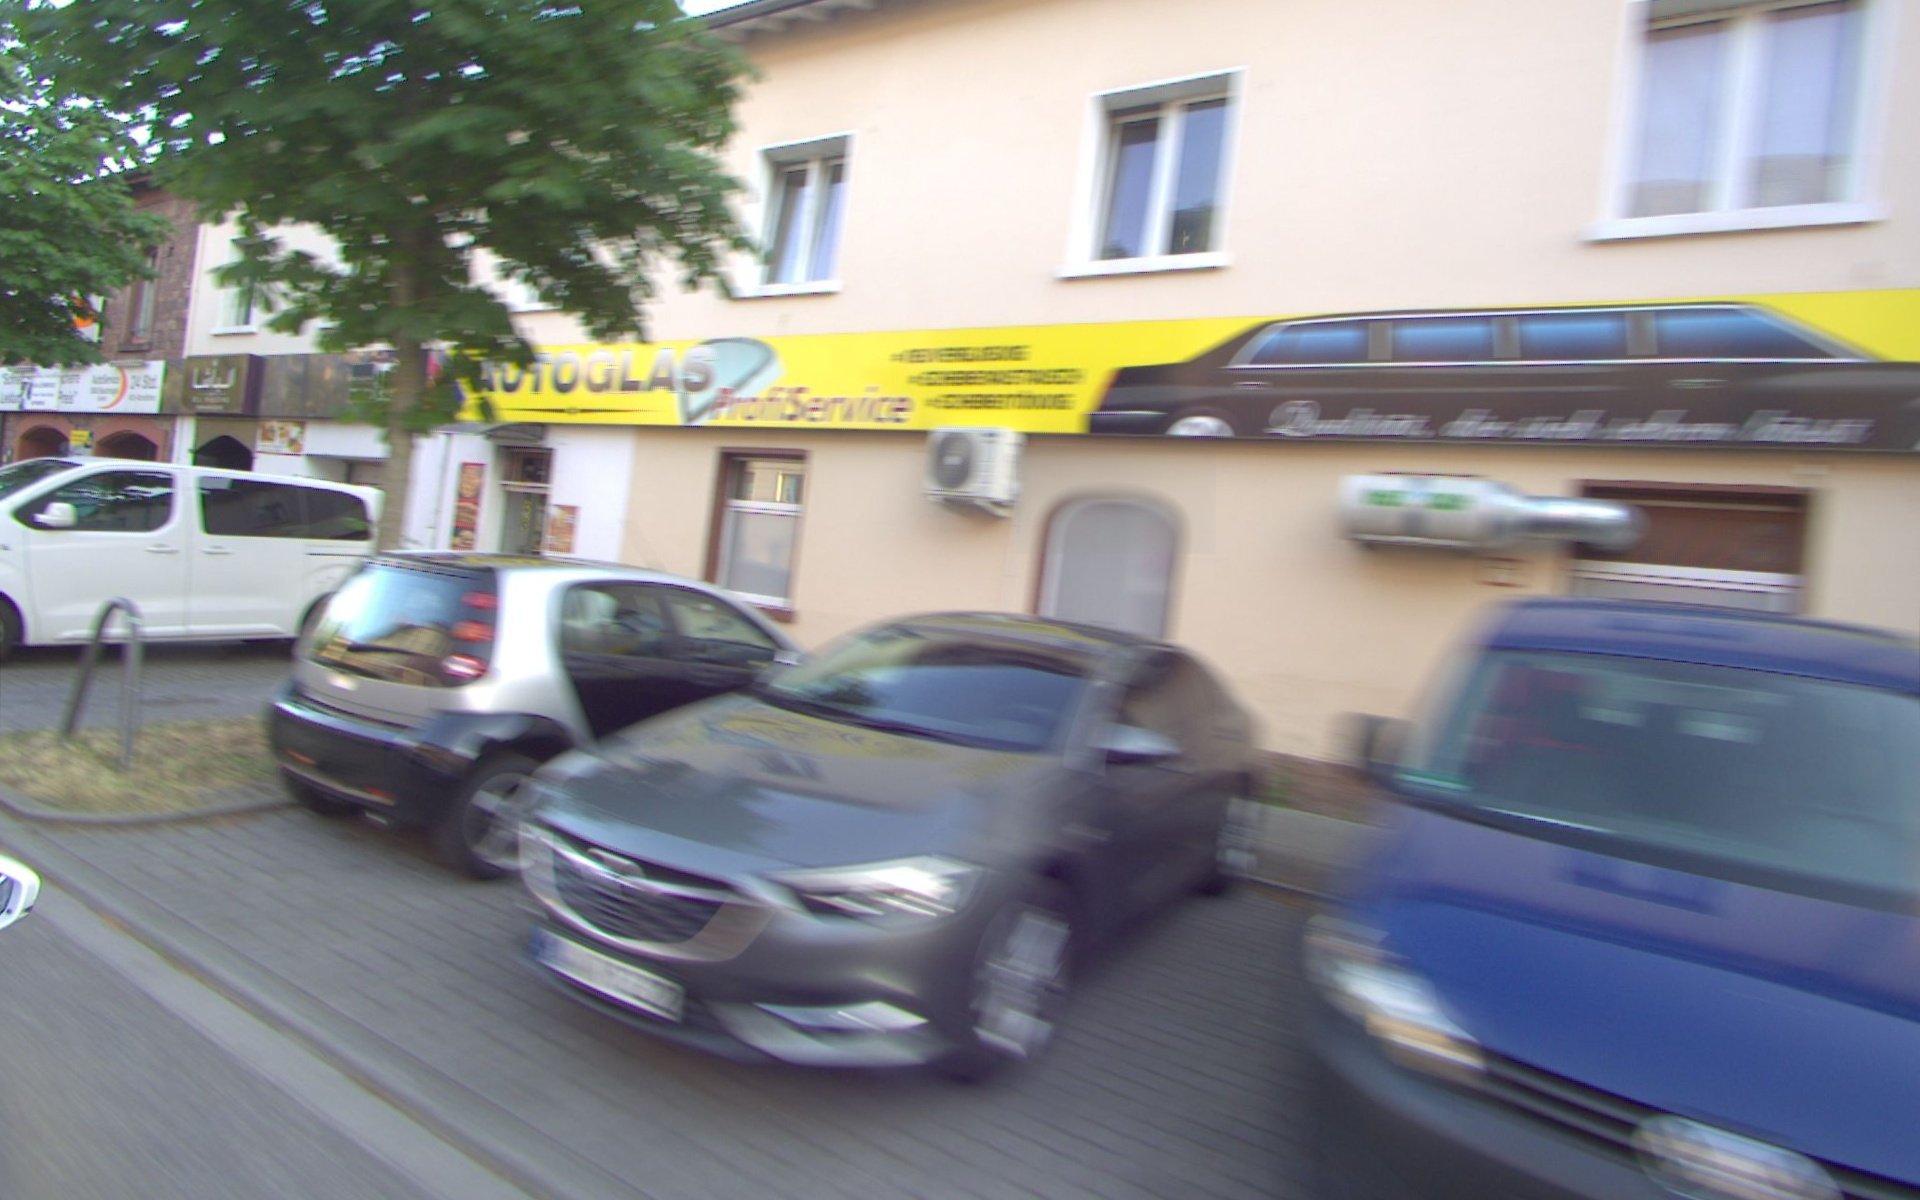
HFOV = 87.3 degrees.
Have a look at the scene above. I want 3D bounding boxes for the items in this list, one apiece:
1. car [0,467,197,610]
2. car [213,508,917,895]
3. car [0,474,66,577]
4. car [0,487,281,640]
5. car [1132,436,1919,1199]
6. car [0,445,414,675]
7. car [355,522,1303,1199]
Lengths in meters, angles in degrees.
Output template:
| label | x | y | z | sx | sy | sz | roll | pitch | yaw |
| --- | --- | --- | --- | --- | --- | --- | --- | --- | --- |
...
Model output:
| label | x | y | z | sx | sy | sz | roll | pitch | yaw |
| --- | --- | --- | --- | --- | --- | --- | --- | --- | --- |
| car | -12.389 | -0.848 | 12.102 | 1.967 | 1.653 | 4.695 | 7 | 3 | 31 |
| car | -2.015 | 0.462 | 6.229 | 1.652 | 1.516 | 3.789 | 7 | 1 | 29 |
| car | -16.309 | -1.282 | 15.063 | 1.813 | 1.566 | 3.989 | 7 | 2 | 29 |
| car | -10.077 | -0.433 | 10.967 | 1.861 | 1.516 | 3.987 | 7 | 3 | 31 |
| car | 2.406 | 0.812 | 3.341 | 1.968 | 1.882 | 4.293 | 7 | 1 | 33 |
| car | -8.133 | -0.411 | 9.744 | 1.978 | 1.887 | 4.585 | 7 | 3 | 31 |
| car | 0.098 | 0.712 | 4.833 | 1.966 | 1.515 | 4.727 | 7 | 1 | 29 |
